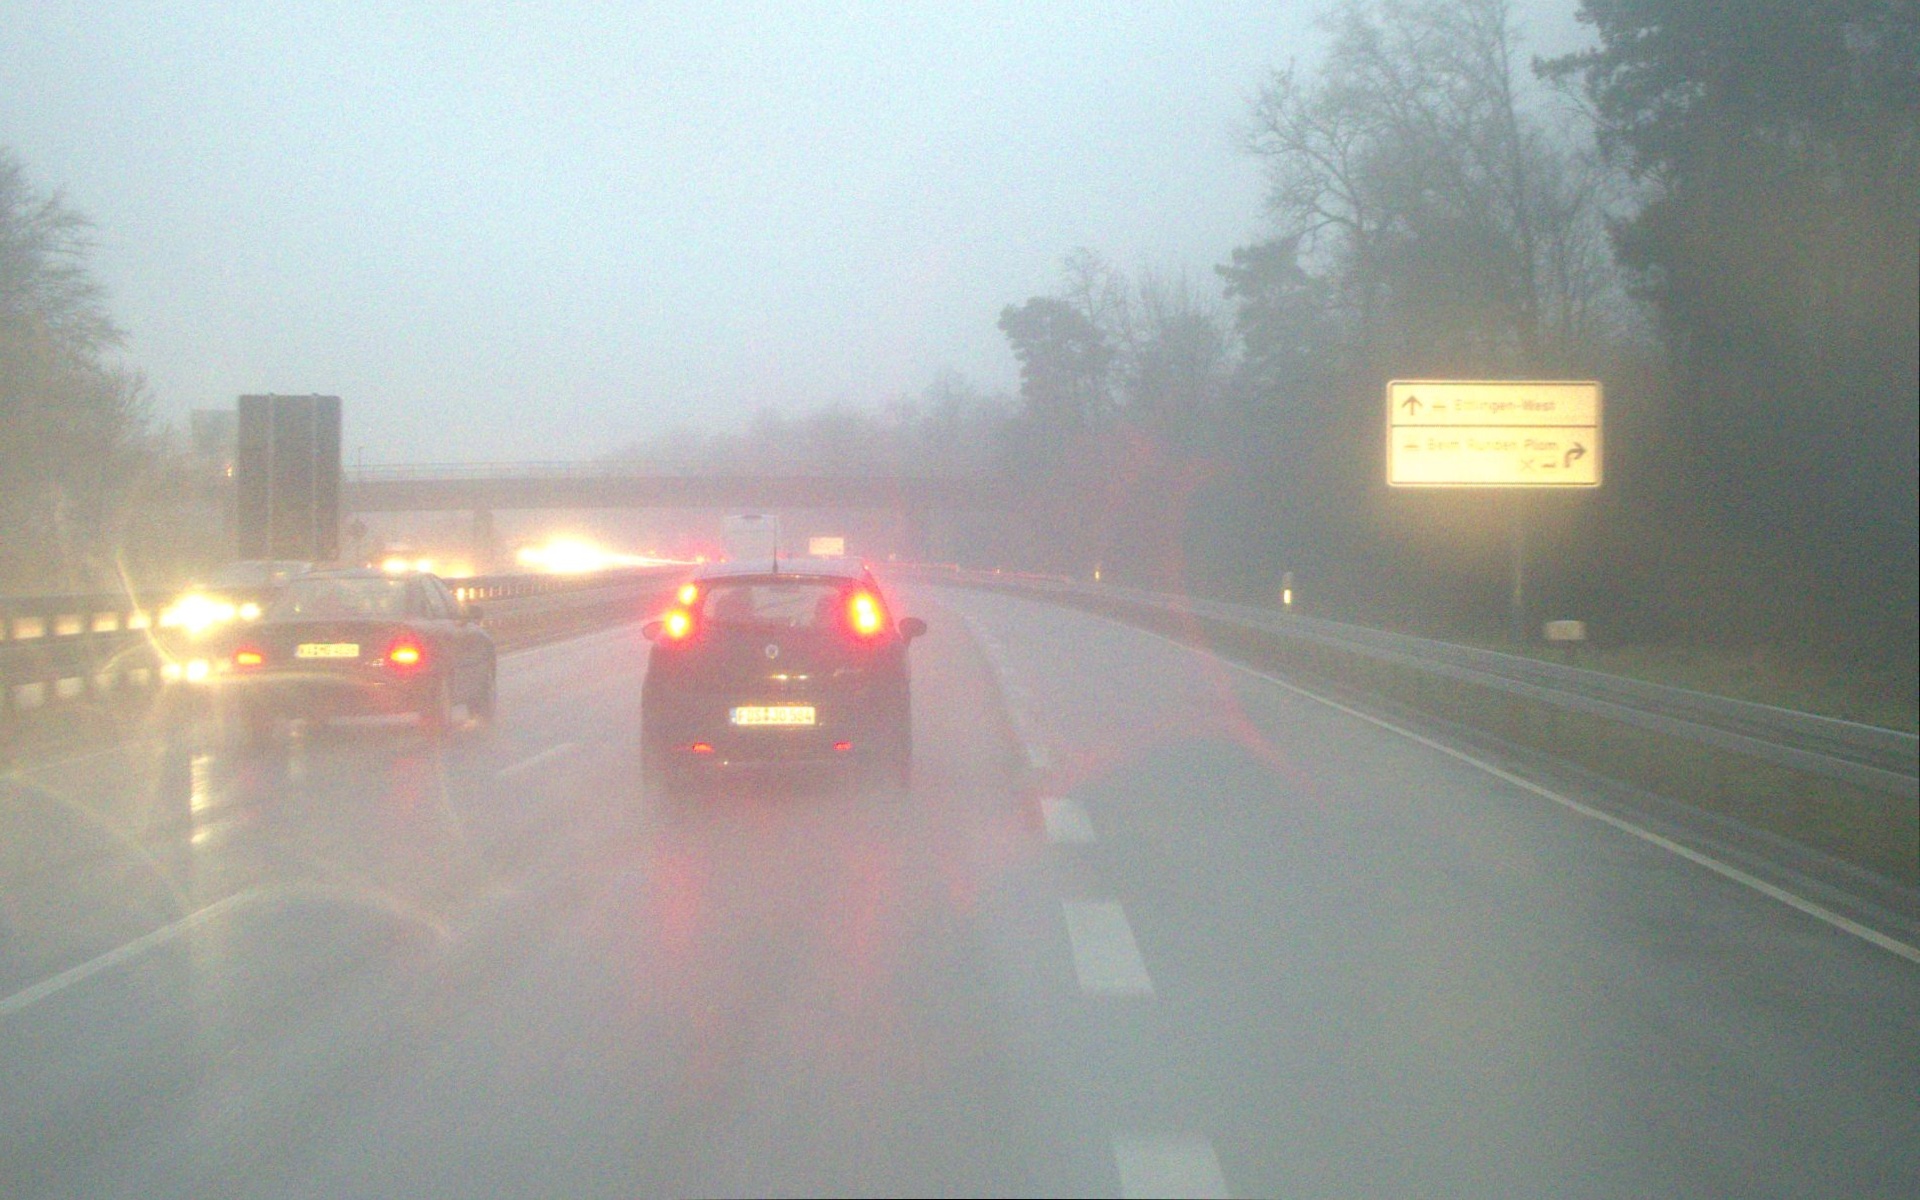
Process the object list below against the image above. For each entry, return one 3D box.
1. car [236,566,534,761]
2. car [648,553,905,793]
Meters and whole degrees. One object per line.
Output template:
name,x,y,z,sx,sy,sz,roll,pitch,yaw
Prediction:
car,-4.965,0.496,30.287,1.776,1.529,4.703,-2,0,0
car,-1.168,0.428,23.074,1.527,1.411,3.479,2,1,-1
